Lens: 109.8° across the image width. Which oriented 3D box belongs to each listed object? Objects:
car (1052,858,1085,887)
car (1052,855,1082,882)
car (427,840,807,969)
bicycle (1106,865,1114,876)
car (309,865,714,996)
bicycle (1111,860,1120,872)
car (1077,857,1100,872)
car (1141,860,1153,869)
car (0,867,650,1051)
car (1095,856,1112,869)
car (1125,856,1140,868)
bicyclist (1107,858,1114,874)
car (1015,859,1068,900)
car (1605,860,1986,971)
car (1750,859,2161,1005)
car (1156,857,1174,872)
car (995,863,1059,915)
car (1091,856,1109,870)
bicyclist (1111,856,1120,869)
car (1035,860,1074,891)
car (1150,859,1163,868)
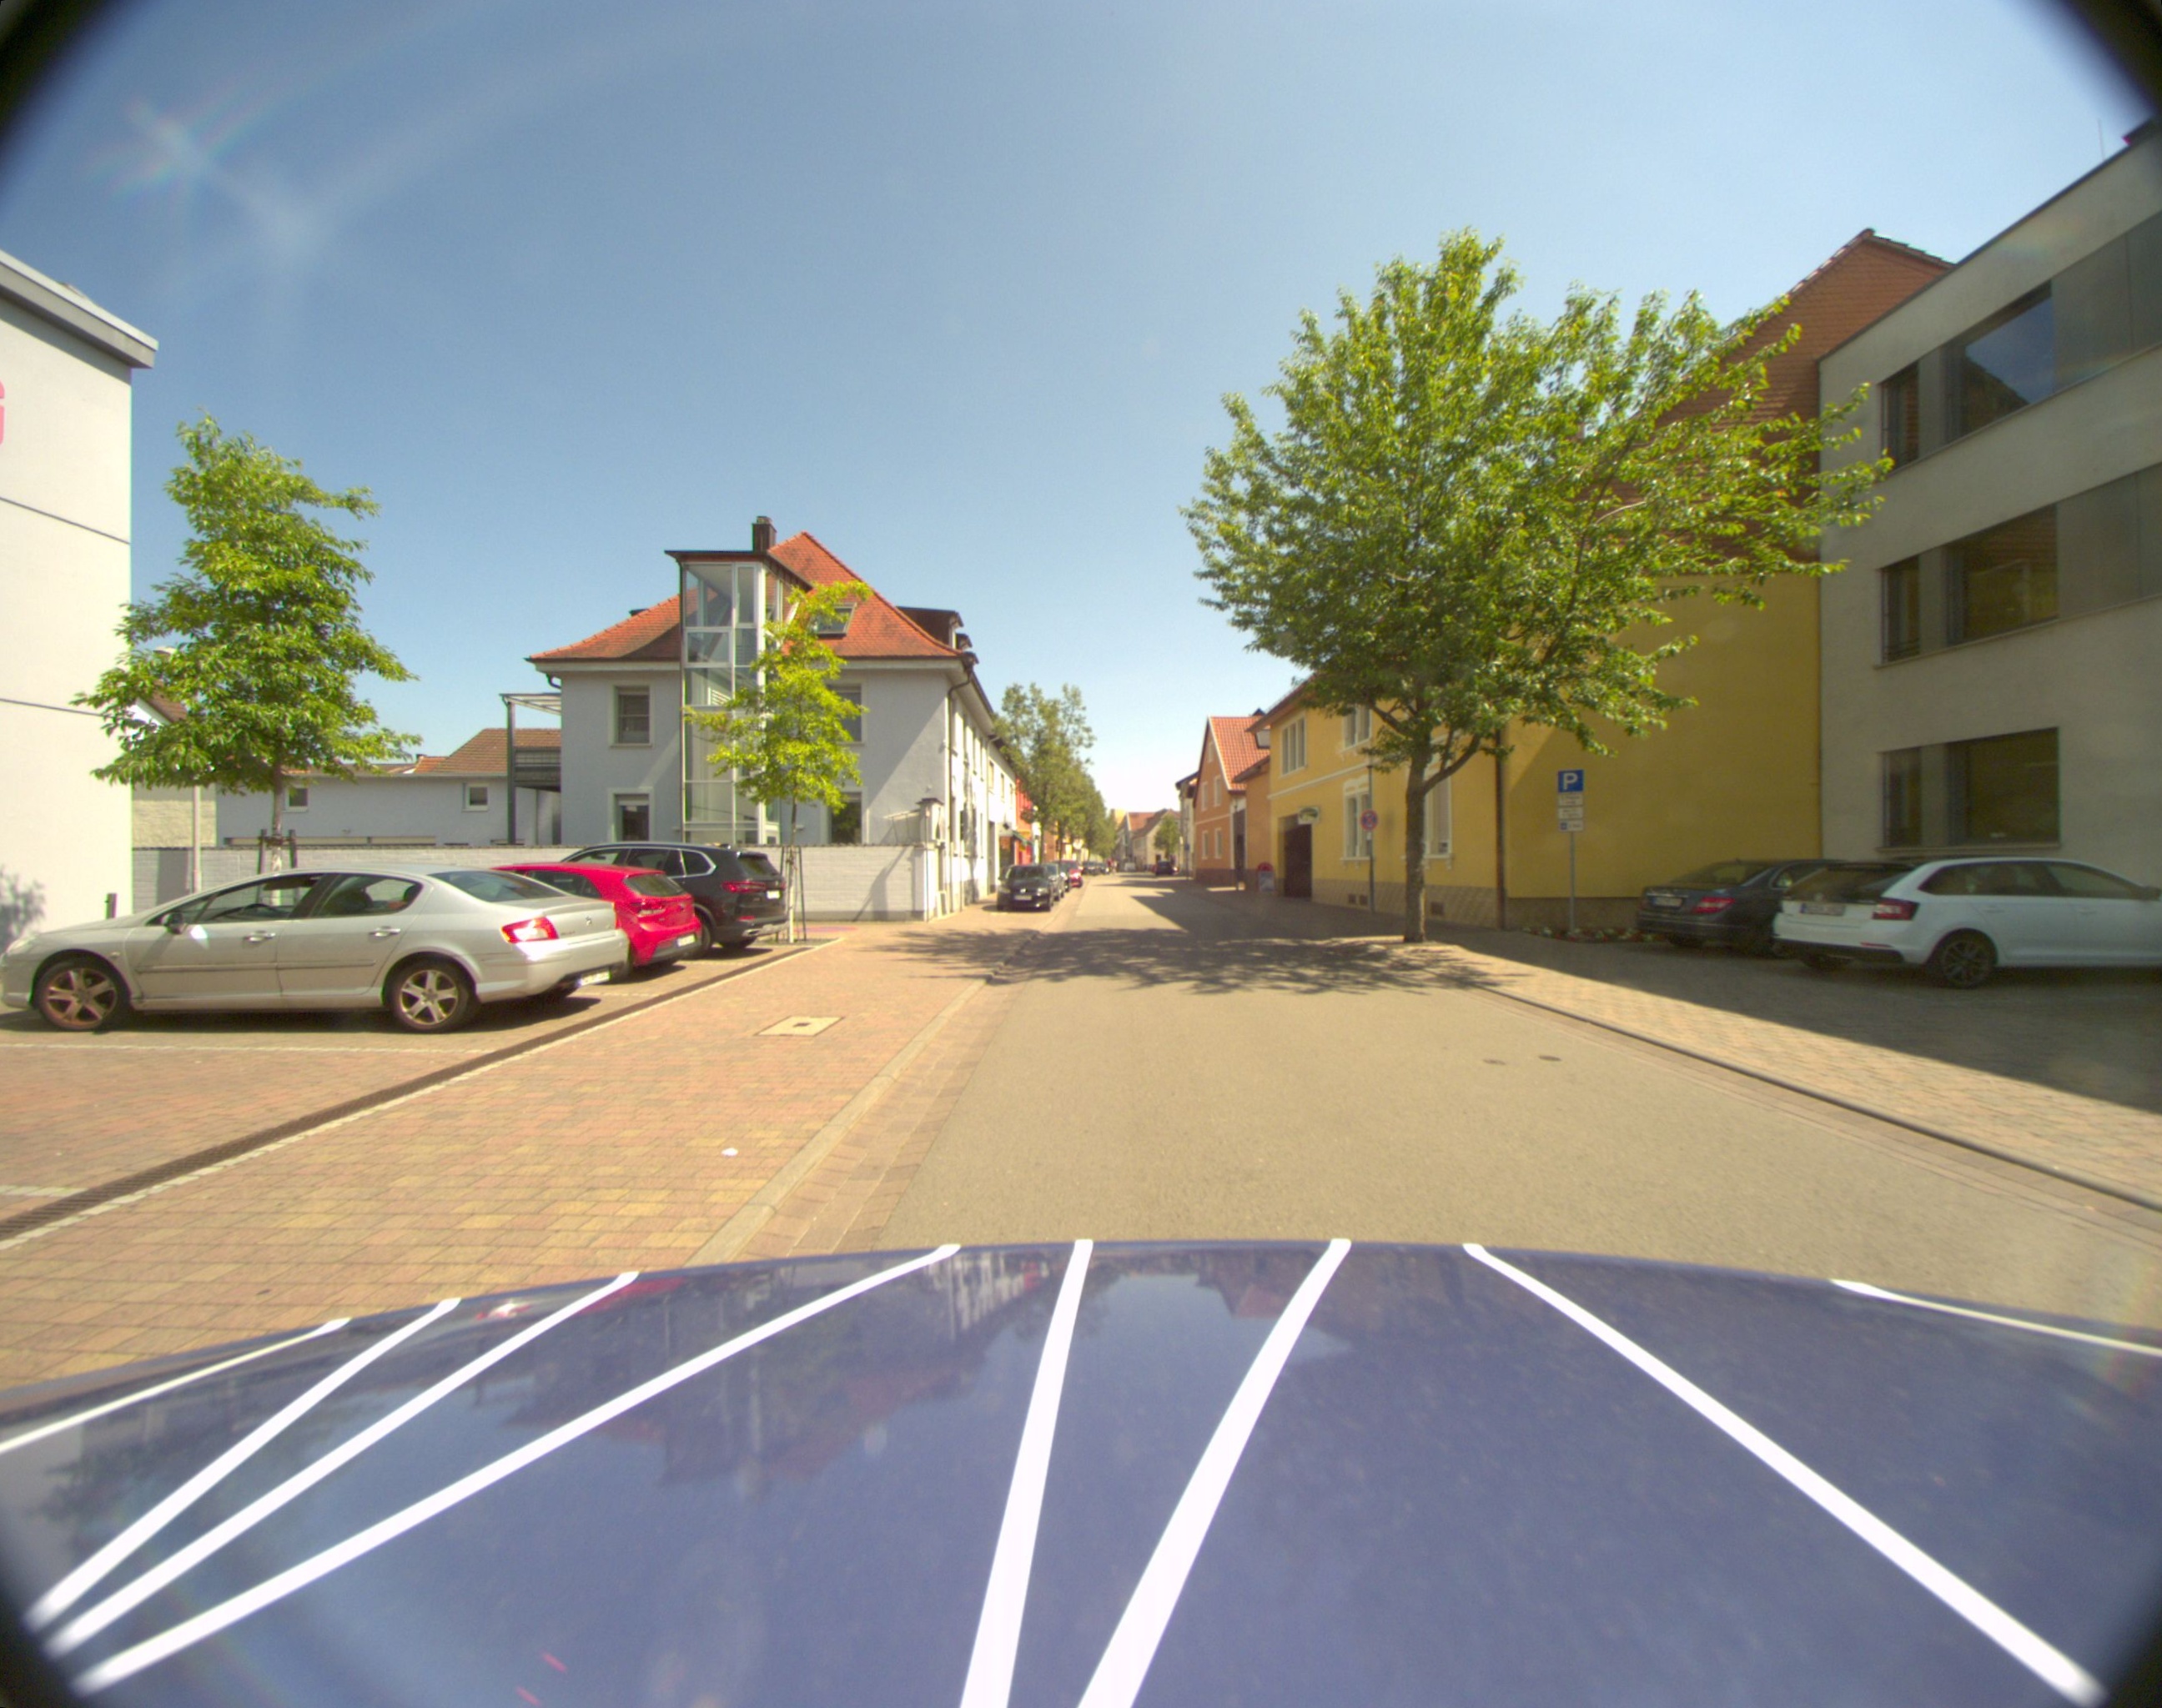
[{"bbox_3d":[-0.744,1.034,44.168,1.834,1.579,4.087,-1,0,-1],"label":"car"},{"bbox_3d":[-0.931,0.987,52.814,1.871,1.675,4.661,-2,1,0],"label":"car"},{"bbox_3d":[-7.078,0.752,12.055,4.642,1.760,2.148,1,-1,-1],"label":"car"},{"bbox_3d":[3.262,1.836,84.554,0.635,1.227,1.895,2,-1,8],"label":"bicycle"},{"bbox_3d":[-6.988,0.908,9.683,3.740,1.444,1.744,1,0,-4],"label":"car"},{"bbox_3d":[4.095,1.389,89.876,0.959,1.363,2.407,0,0,5],"label":"bicycle"},{"bbox_3d":[0.801,1.122,81.743,1.928,1.594,4.111,0,0,9],"label":"car"},{"bbox_3d":[11.631,1.834,133.867,1.572,1.452,3.801,0,0,-3],"label":"car"},{"bbox_3d":[-6.920,0.904,7.190,4.549,1.432,1.839,1,0,-4],"label":"car"},{"bbox_3d":[3.101,1.143,104.027,1.998,1.759,4.110,0,0,5],"label":"car"},{"bbox_3d":[9.762,1.529,144.671,2.443,2.223,4.960,0,0,-1],"label":"car"},{"bbox_3d":[3.282,1.327,84.638,0.644,1.766,0.722,2,-1,8],"label":"bicyclist"},{"bbox_3d":[-1.500,0.973,30.270,1.721,1.472,4.096,1,0,3],"label":"car"},{"bbox_3d":[10.666,0.869,11.577,3.998,1.422,1.972,-2,-1,-3],"label":"car"},{"bbox_3d":[10.695,0.839,8.955,3.997,1.442,1.807,-2,-1,0],"label":"car"},{"bbox_3d":[9.037,1.109,81.800,1.862,1.620,4.050,0,0,8],"label":"car"},{"bbox_3d":[-1.665,1.072,24.646,1.708,1.472,3.922,1,0,1],"label":"car"},{"bbox_3d":[2.371,1.102,95.247,1.998,1.759,4.110,0,0,5],"label":"car"},{"bbox_3d":[4.100,1.007,89.865,1.027,1.635,1.025,0,0,5],"label":"bicyclist"},{"bbox_3d":[-1.292,1.064,38.348,1.741,1.504,3.736,0,-1,1],"label":"car"},{"bbox_3d":[11.803,1.443,118.799,1.572,1.452,3.801,0,0,-3],"label":"car"}]
